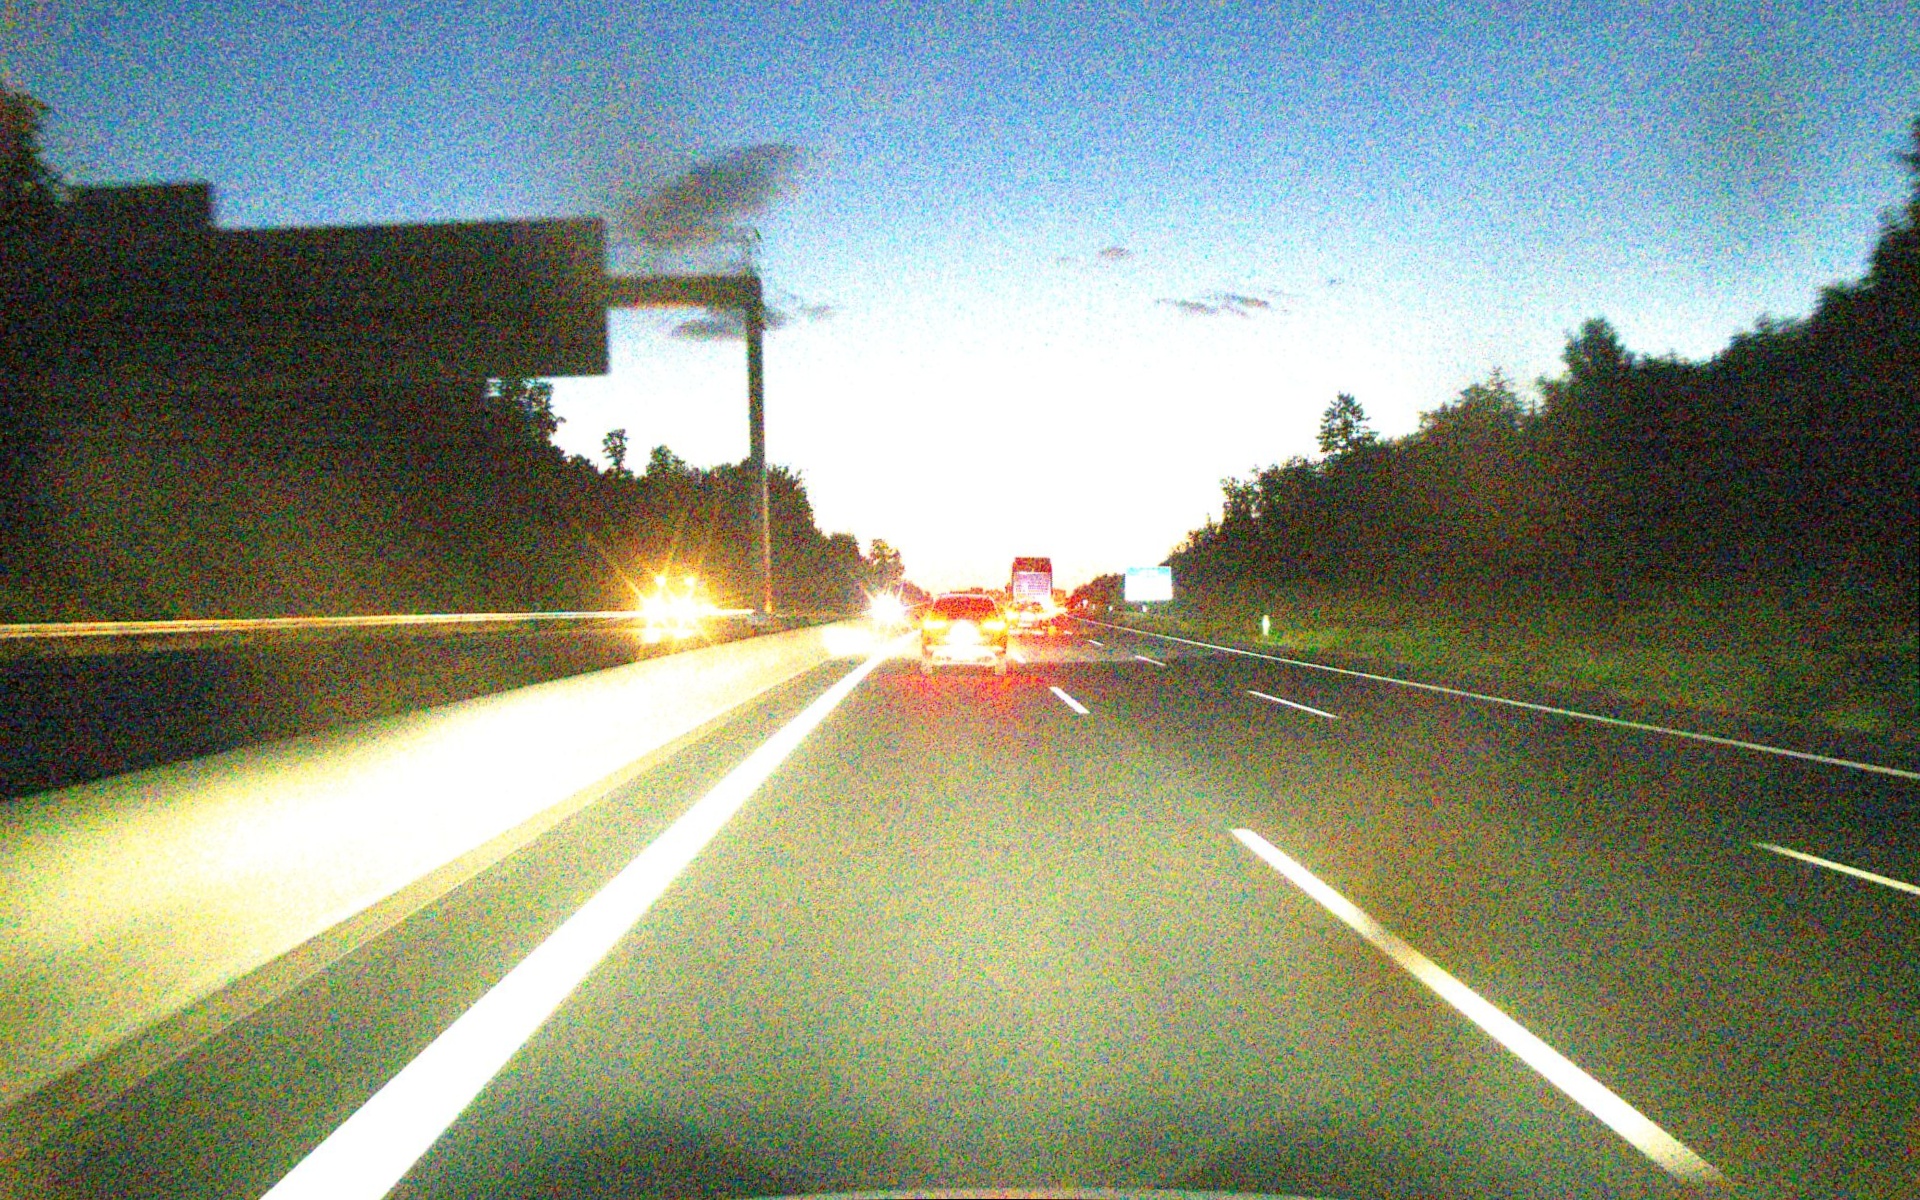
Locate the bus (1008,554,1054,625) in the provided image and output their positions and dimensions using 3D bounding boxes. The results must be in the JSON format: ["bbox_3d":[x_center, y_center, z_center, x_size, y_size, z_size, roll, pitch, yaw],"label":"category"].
[{"bbox_3d":[4.515,-0.500,106.317,2.597,4.064,14.704,-2,-1,2],"label":"bus"}]

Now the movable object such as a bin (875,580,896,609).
[{"bbox_3d":[-10.169,-0.730,227.402,2.245,3.835,7.688,0,0,2],"label":"movable object such as a bin"}]

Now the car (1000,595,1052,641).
[{"bbox_3d":[2.697,0.779,68.655,1.872,1.760,3.999,3,-1,-1],"label":"car"}]

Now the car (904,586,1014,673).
[{"bbox_3d":[-0.092,0.621,34.388,2.063,1.646,4.201,2,-1,-3],"label":"car"}]

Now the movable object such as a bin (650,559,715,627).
[{"bbox_3d":[-14.686,-0.349,88.103,2.162,3.477,7.437,0,0,0],"label":"movable object such as a bin"}]

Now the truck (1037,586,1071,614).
[{"bbox_3d":[10.783,0.028,190.274,2.497,3.069,9.041,1,0,-6],"label":"truck"}]
